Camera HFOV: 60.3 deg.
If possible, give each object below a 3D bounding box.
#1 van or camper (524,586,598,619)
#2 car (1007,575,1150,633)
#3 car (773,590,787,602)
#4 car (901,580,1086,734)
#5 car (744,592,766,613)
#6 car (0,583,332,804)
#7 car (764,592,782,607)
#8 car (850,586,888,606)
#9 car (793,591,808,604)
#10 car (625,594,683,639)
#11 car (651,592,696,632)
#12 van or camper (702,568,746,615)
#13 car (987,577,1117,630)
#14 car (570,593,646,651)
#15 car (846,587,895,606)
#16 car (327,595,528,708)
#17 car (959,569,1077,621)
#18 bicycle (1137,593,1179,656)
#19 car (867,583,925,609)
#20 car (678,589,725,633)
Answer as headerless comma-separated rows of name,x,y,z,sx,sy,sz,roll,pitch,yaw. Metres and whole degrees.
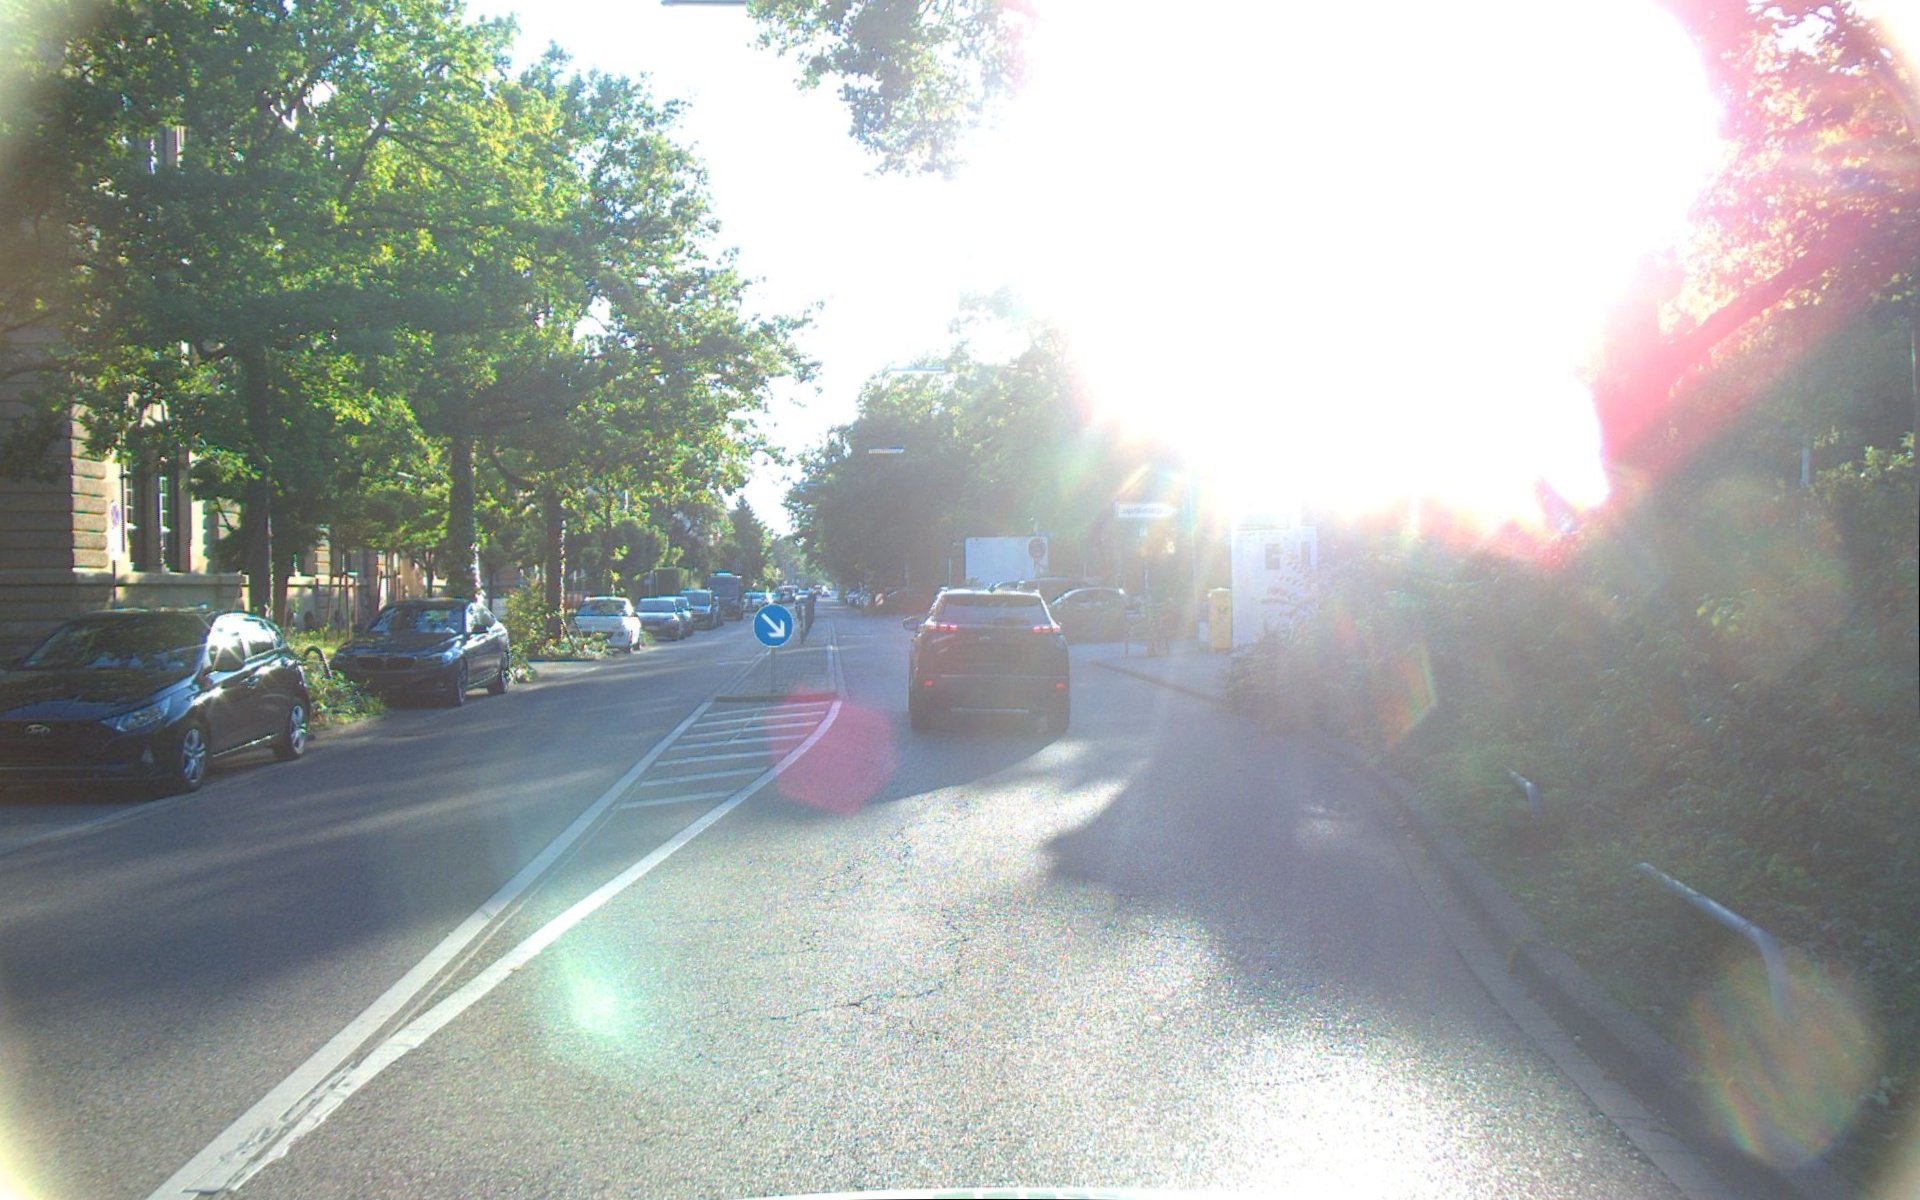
van or camper,-28.026,0.166,116.281,4.673,2.020,2.000,-1,5,-3
car,3.787,0.112,53.159,4.279,1.581,1.725,-3,0,-6
car,-23.784,-0.538,218.585,1.863,1.601,3.996,-1,0,-5
car,0.283,0.570,19.292,1.737,1.596,4.105,0,1,-5
car,-16.153,0.178,130.407,1.583,1.541,3.706,-3,0,-7
car,-6.986,0.687,14.421,1.745,1.644,4.143,0,0,-5
car,-19.590,-0.049,173.180,1.719,1.438,3.759,-3,1,-6
car,-9.848,-0.412,178.820,3.914,2.126,1.754,-1,0,-10
car,-18.586,-0.285,193.011,1.707,1.483,4.619,-2,0,-5
car,-10.745,0.546,58.272,1.586,1.522,4.373,0,0,-5
car,-11.331,0.439,65.485,1.687,1.522,4.368,0,0,-9
van or camper,-13.574,-0.500,95.510,2.186,2.589,7.072,1,0,-5
car,3.218,0.108,58.228,4.279,1.581,1.874,-3,0,-6
car,-9.666,0.568,45.623,1.586,1.522,3.920,0,0,-5
car,-7.974,-0.293,146.826,4.163,1.474,2.018,-3,0,-7
car,-7.943,0.697,25.144,1.766,1.537,4.859,0,0,-4
car,2.455,-0.228,71.013,4.759,1.949,1.914,-3,0,-6
bicycle,4.179,0.500,34.813,0.482,1.168,2.287,-4,1,15
car,-4.425,-0.285,113.906,3.909,1.581,1.724,-2,2,-5
car,-11.823,0.471,75.764,1.742,1.898,4.328,1,0,-5
